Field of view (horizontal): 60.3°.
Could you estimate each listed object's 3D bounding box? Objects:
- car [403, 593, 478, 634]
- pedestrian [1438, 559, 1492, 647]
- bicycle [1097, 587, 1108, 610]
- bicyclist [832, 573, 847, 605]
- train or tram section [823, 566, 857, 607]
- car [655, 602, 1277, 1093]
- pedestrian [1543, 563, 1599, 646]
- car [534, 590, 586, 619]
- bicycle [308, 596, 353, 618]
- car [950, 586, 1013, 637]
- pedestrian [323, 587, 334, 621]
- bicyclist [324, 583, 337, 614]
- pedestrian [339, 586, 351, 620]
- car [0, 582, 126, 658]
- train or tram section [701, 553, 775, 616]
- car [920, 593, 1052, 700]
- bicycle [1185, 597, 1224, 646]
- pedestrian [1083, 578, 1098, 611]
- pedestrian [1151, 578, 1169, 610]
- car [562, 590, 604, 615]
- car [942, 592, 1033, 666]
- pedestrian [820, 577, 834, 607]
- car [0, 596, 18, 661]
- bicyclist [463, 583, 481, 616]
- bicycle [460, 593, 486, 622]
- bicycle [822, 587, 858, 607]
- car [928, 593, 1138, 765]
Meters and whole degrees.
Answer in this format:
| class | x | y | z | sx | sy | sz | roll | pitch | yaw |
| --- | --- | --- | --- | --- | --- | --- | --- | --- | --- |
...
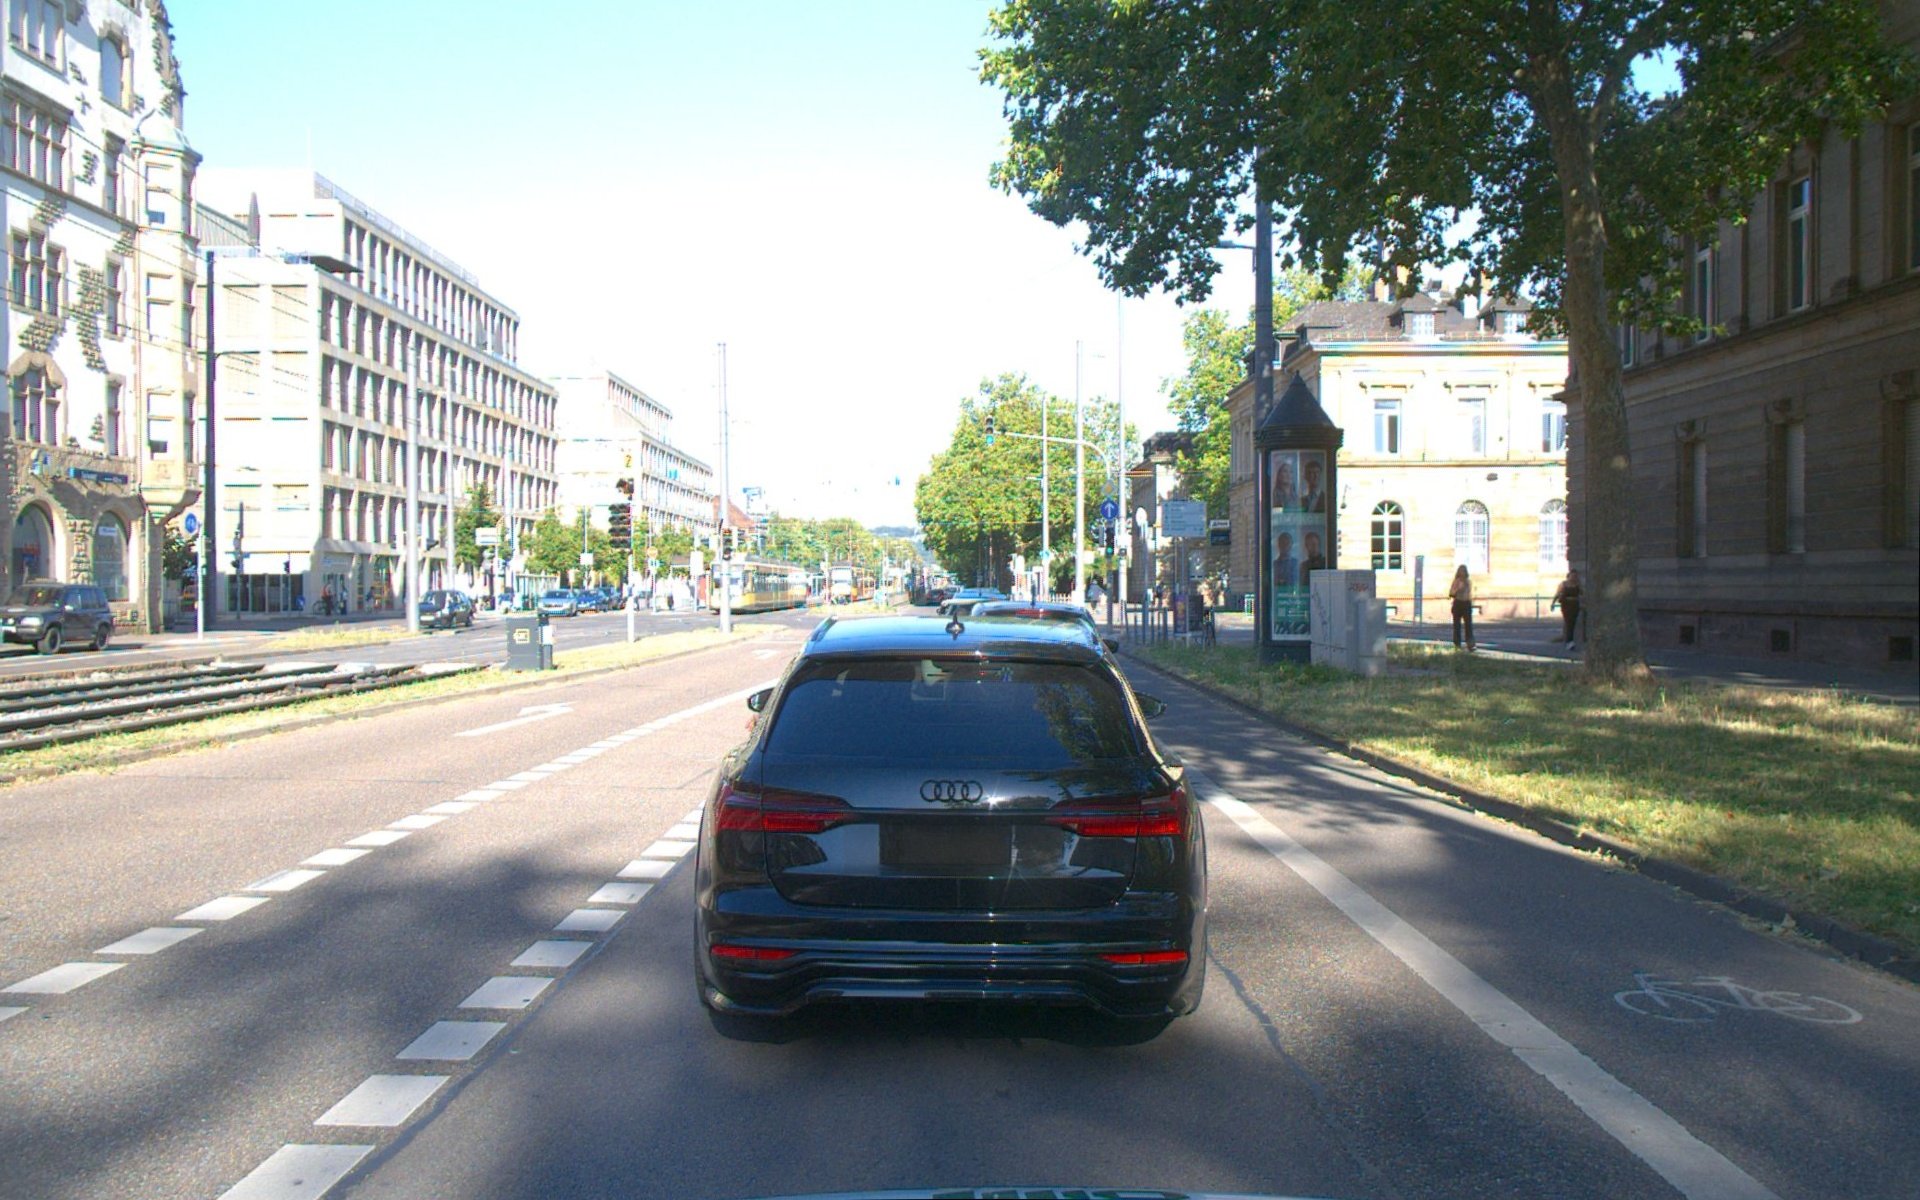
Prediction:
| class | x | y | z | sx | sy | sz | roll | pitch | yaw |
| --- | --- | --- | --- | --- | --- | --- | --- | --- | --- |
| car | -20.065 | 0.488 | 64.037 | 1.784 | 1.482 | 4.163 | -1 | 0 | -3 |
| pedestrian | 10.176 | 0.054 | 33.353 | 0.753 | 1.739 | 1.042 | -1 | 0 | 1 |
| bicycle | 7.327 | -0.071 | 85.062 | 0.426 | 1.165 | 1.340 | -1 | 0 | -2 |
| bicyclist | -7.088 | -0.651 | 97.319 | 0.744 | 1.850 | 0.761 | -1 | 0 | -16 |
| train or tram section | -10.812 | -1.223 | 149.703 | 2.556 | 3.511 | 11.128 | -1 | 1 | -2 |
| car | 0.024 | 0.751 | 7.074 | 1.864 | 1.446 | 4.144 | 1 | 0 | 0 |
| pedestrian | 12.262 | 0.089 | 33.229 | 0.753 | 1.634 | 0.986 | -1 | 0 | 1 |
| car | -21.477 | 0.230 | 88.957 | 1.783 | 1.482 | 4.538 | -1 | 0 | -2 |
| bicycle | -35.688 | 0.398 | 93.710 | 2.350 | 1.236 | 0.573 | -1 | 0 | -25 |
| car | 0.653 | 0.332 | 51.719 | 1.864 | 1.512 | 4.144 | 1 | 0 | 0 |
| pedestrian | -35.044 | 0.219 | 91.757 | 0.468 | 1.876 | 0.437 | -1 | 0 | -38 |
| bicyclist | -35.655 | -0.090 | 93.716 | 0.633 | 1.715 | 0.573 | -1 | 0 | -24 |
| pedestrian | -34.282 | 0.171 | 92.230 | 0.527 | 1.876 | 0.437 | -1 | 0 | -38 |
| car | -22.412 | 0.445 | 40.747 | 1.682 | 1.704 | 4.215 | 2 | 1 | -2 |
| train or tram section | -13.314 | -0.927 | 100.453 | 2.755 | 3.550 | 13.203 | -1 | 0 | 0 |
| car | 0.371 | 0.657 | 25.698 | 1.864 | 1.512 | 4.144 | 1 | 0 | 0 |
| bicycle | 5.631 | 0.490 | 38.193 | 0.529 | 1.080 | 1.770 | -1 | 0 | -4 |
| pedestrian | 6.714 | -0.291 | 85.029 | 0.668 | 1.689 | 0.758 | -1 | 0 | -2 |
| pedestrian | 11.792 | -0.354 | 97.370 | 0.959 | 1.898 | 0.827 | -1 | 0 | 0 |
| car | -23.158 | 0.161 | 101.709 | 1.783 | 1.482 | 4.155 | -1 | 0 | -2 |
| car | 0.568 | 0.590 | 36.375 | 1.864 | 1.512 | 4.144 | 1 | 0 | 0 |
| pedestrian | -7.924 | -0.483 | 98.784 | 0.727 | 1.772 | 0.661 | -1 | 0 | -14 |
| car | -22.351 | 0.637 | 35.486 | 1.682 | 1.448 | 4.654 | 2 | 1 | -2 |
| bicyclist | -24.248 | -0.030 | 82.190 | 0.671 | 1.590 | 0.785 | -1 | 0 | 1 |
| bicycle | -24.237 | 0.356 | 82.365 | 0.671 | 1.406 | 1.947 | -1 | 0 | 1 |
| bicycle | -7.054 | -0.184 | 97.312 | 1.973 | 1.127 | 0.761 | -1 | 0 | -16 |
| car | 0.656 | 0.703 | 16.866 | 1.864 | 1.512 | 4.144 | 1 | 0 | 0 |
